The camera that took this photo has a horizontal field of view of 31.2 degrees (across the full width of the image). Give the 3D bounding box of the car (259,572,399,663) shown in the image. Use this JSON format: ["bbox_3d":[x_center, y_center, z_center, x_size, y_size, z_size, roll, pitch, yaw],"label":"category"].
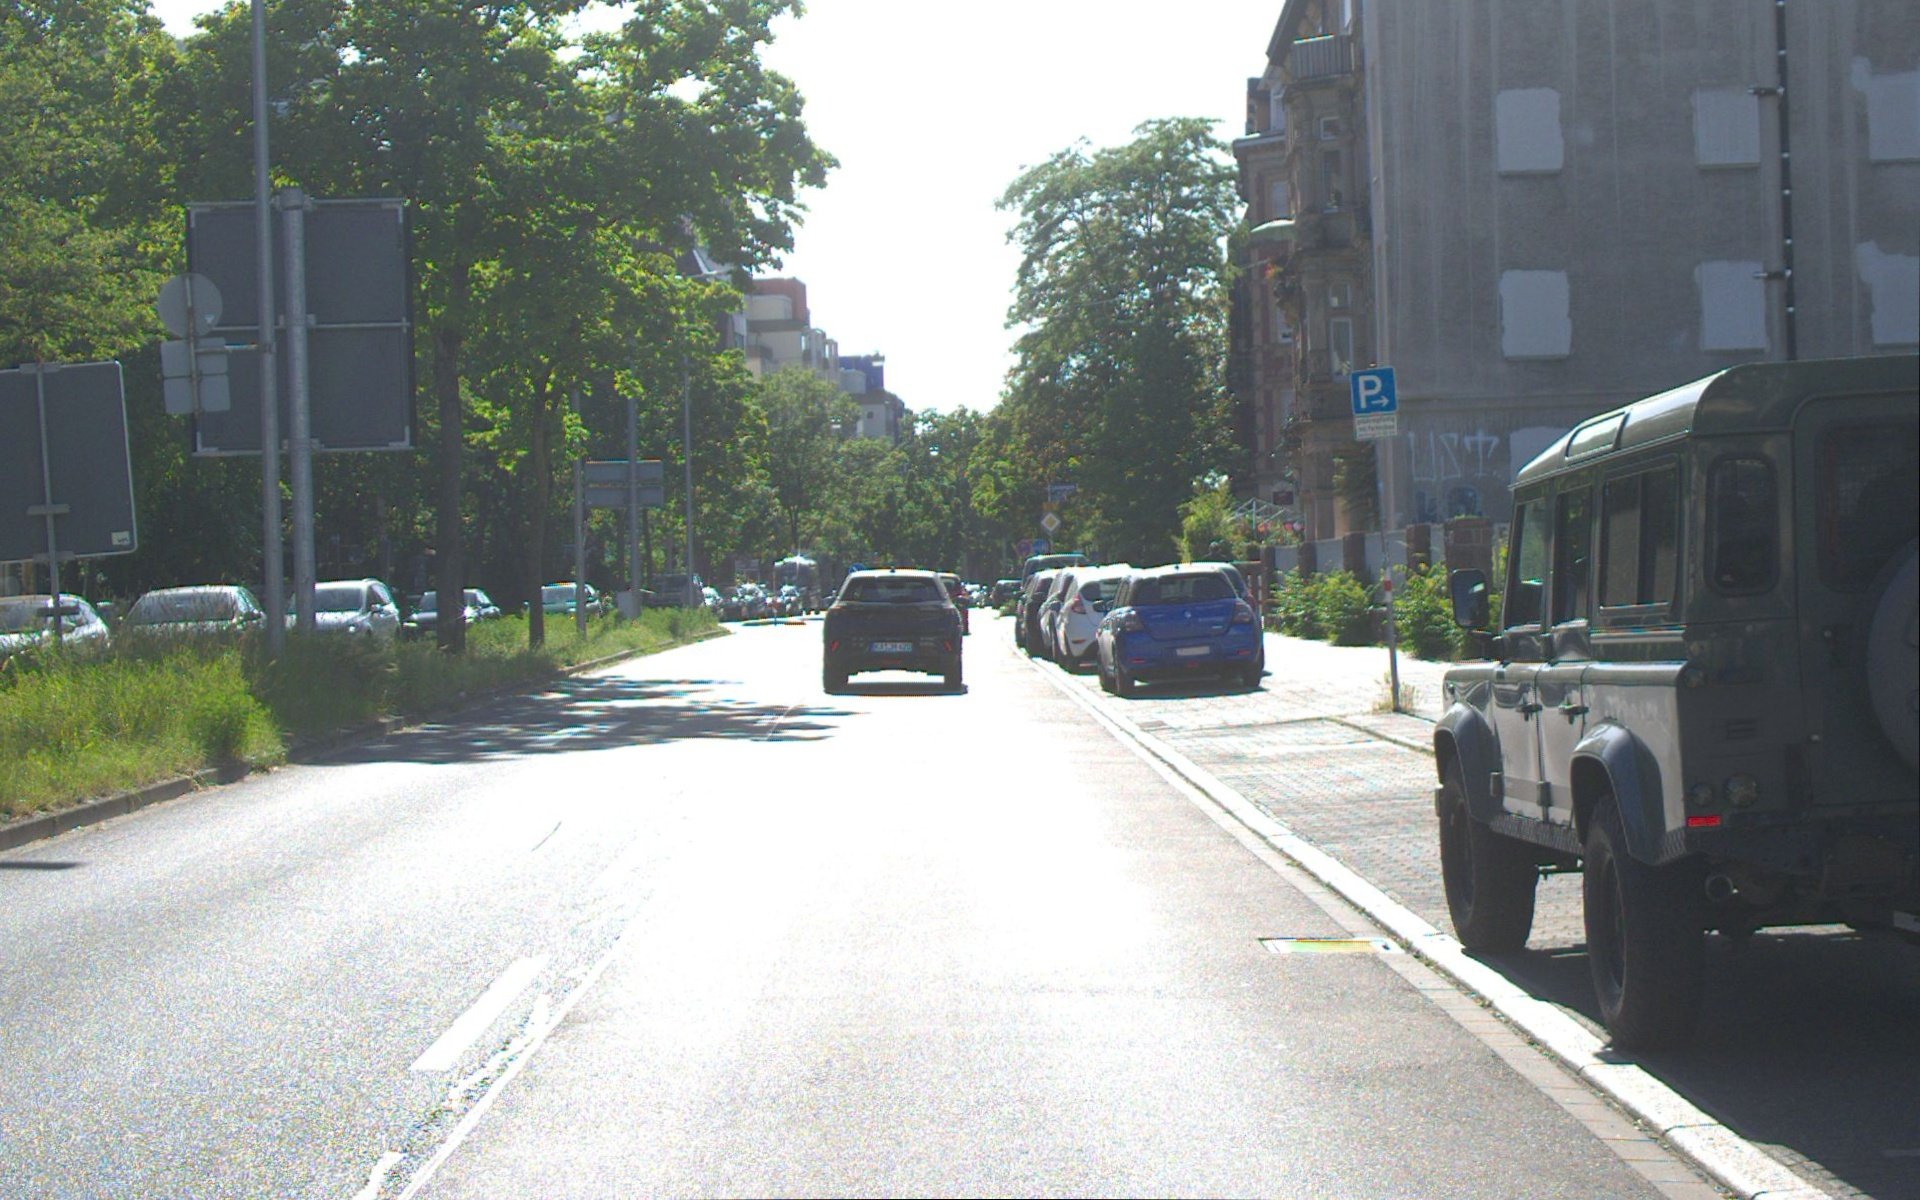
[{"bbox_3d":[-12.132,0.319,66.335,1.900,1.620,4.537,-2,0,-1],"label":"car"}]

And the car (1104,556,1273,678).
[{"bbox_3d":[3.074,0.204,46.998,1.668,1.455,3.986,-5,1,-4],"label":"car"}]

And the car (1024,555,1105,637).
[{"bbox_3d":[2.500,-0.126,81.491,1.819,1.837,4.364,-2,1,2],"label":"car"}]

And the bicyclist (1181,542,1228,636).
[{"bbox_3d":[4.162,-0.201,58.538,0.741,1.575,1.100,0,1,2],"label":"bicyclist"}]

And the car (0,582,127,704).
[{"bbox_3d":[-12.609,0.555,45.730,1.839,1.514,4.666,-2,0,1],"label":"car"}]

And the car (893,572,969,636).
[{"bbox_3d":[-0.714,0.087,83.836,1.792,1.515,3.849,0,1,-1],"label":"car"}]

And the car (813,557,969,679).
[{"bbox_3d":[-0.942,0.215,44.928,1.894,1.514,4.000,1,0,-3],"label":"car"}]

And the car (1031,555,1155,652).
[{"bbox_3d":[2.184,0.033,57.344,1.668,1.514,3.662,-2,1,-3],"label":"car"}]

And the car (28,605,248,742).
[{"bbox_3d":[-10.238,0.969,43.115,1.753,1.613,4.323,0,-3,0],"label":"car"}]

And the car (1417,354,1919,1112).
[{"bbox_3d":[2.761,0.336,11.633,1.660,2.007,4.776,-3,0,-1],"label":"car"}]

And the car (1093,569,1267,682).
[{"bbox_3d":[2.659,0.285,42.271,1.668,1.178,3.901,-5,1,-2],"label":"car"}]

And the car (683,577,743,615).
[{"bbox_3d":[-10.474,-0.173,146.102,1.759,1.514,3.858,-2,0,7],"label":"car"}]

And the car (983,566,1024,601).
[{"bbox_3d":[2.175,-0.818,170.125,1.920,1.634,4.000,-2,0,1],"label":"car"}]

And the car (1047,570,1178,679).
[{"bbox_3d":[2.261,0.335,51.810,1.608,1.441,3.659,-5,1,-1],"label":"car"}]

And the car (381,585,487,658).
[{"bbox_3d":[-11.830,0.487,77.562,1.795,1.514,4.087,-3,-1,-1],"label":"car"}]

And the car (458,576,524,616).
[{"bbox_3d":[-20.213,-0.184,148.204,1.974,1.656,4.001,-2,0,-20],"label":"car"}]
